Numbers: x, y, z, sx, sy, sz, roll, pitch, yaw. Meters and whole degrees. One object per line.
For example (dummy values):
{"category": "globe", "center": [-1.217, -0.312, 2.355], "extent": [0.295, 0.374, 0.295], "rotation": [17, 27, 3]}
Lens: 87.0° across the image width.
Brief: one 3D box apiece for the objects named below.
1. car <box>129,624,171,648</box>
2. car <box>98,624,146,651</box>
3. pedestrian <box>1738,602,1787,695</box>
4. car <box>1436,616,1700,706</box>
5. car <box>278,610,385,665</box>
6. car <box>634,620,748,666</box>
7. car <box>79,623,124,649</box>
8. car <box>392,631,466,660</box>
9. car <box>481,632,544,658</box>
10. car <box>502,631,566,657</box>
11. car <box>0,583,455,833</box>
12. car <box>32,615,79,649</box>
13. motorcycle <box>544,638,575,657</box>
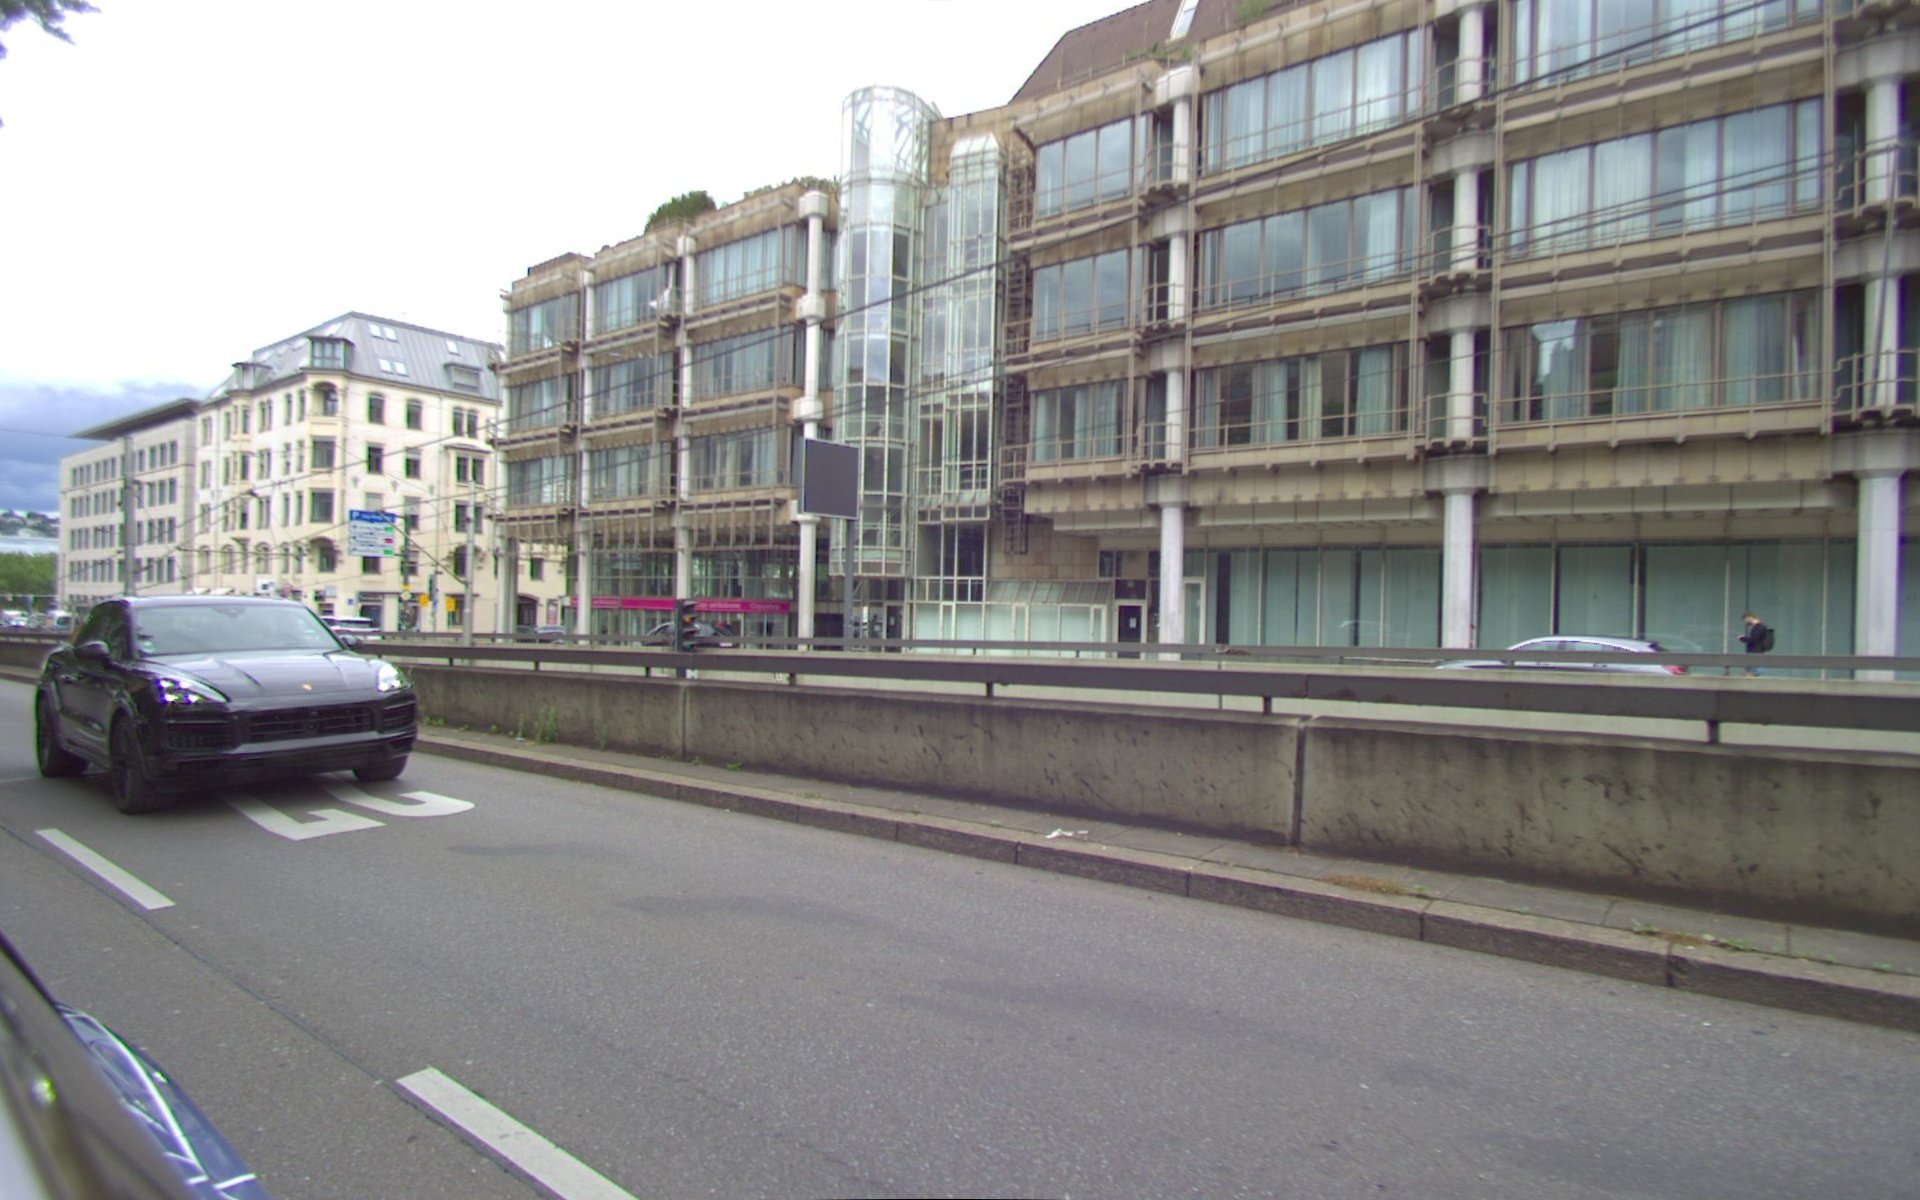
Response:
{"category": "car", "center": [-70.165, 3.112, 87.703], "extent": [3.995, 2.029, 1.974], "rotation": [-2, -2, 38]}
{"category": "car", "center": [-66.163, 2.922, 79.883], "extent": [4.784, 2.029, 1.974], "rotation": [-1, 0, 39]}
{"category": "pedestrian", "center": [16.229, 0.955, 20.478], "extent": [0.739, 1.825, 0.723], "rotation": [-1, -1, 39]}
{"category": "car", "center": [11.351, 1.083, 19.035], "extent": [4.040, 1.512, 1.647], "rotation": [-2, -2, 40]}
{"category": "car", "center": [-24.060, 1.398, 38.713], "extent": [4.596, 1.856, 1.818], "rotation": [-1, 2, 36]}
{"category": "car", "center": [-9.415, 1.480, 35.228], "extent": [4.410, 1.512, 1.647], "rotation": [-2, -2, 40]}
{"category": "car", "center": [-71.099, 2.983, 83.795], "extent": [4.784, 2.029, 1.974], "rotation": [-1, 0, 39]}
{"category": "car", "center": [-32.089, 2.726, 61.195], "extent": [1.646, 1.674, 3.606], "rotation": [-1, -2, 35]}
{"category": "car", "center": [-29.946, 3.003, 67.777], "extent": [1.646, 1.674, 3.557], "rotation": [-1, -2, 35]}
{"category": "car", "center": [-28.009, 2.874, 66.664], "extent": [1.646, 1.674, 3.557], "rotation": [-1, -2, 35]}
{"category": "car", "center": [-6.955, 0.789, 9.326], "extent": [5.345, 1.688, 2.063], "rotation": [-1, -2, 38]}
{"category": "car", "center": [-83.322, 2.915, 93.212], "extent": [5.462, 3.083, 2.341], "rotation": [-1, 0, 39]}
{"category": "motorcycle", "center": [-23.124, 2.723, 58.421], "extent": [1.659, 1.083, 0.640], "rotation": [-1, 0, 19]}
